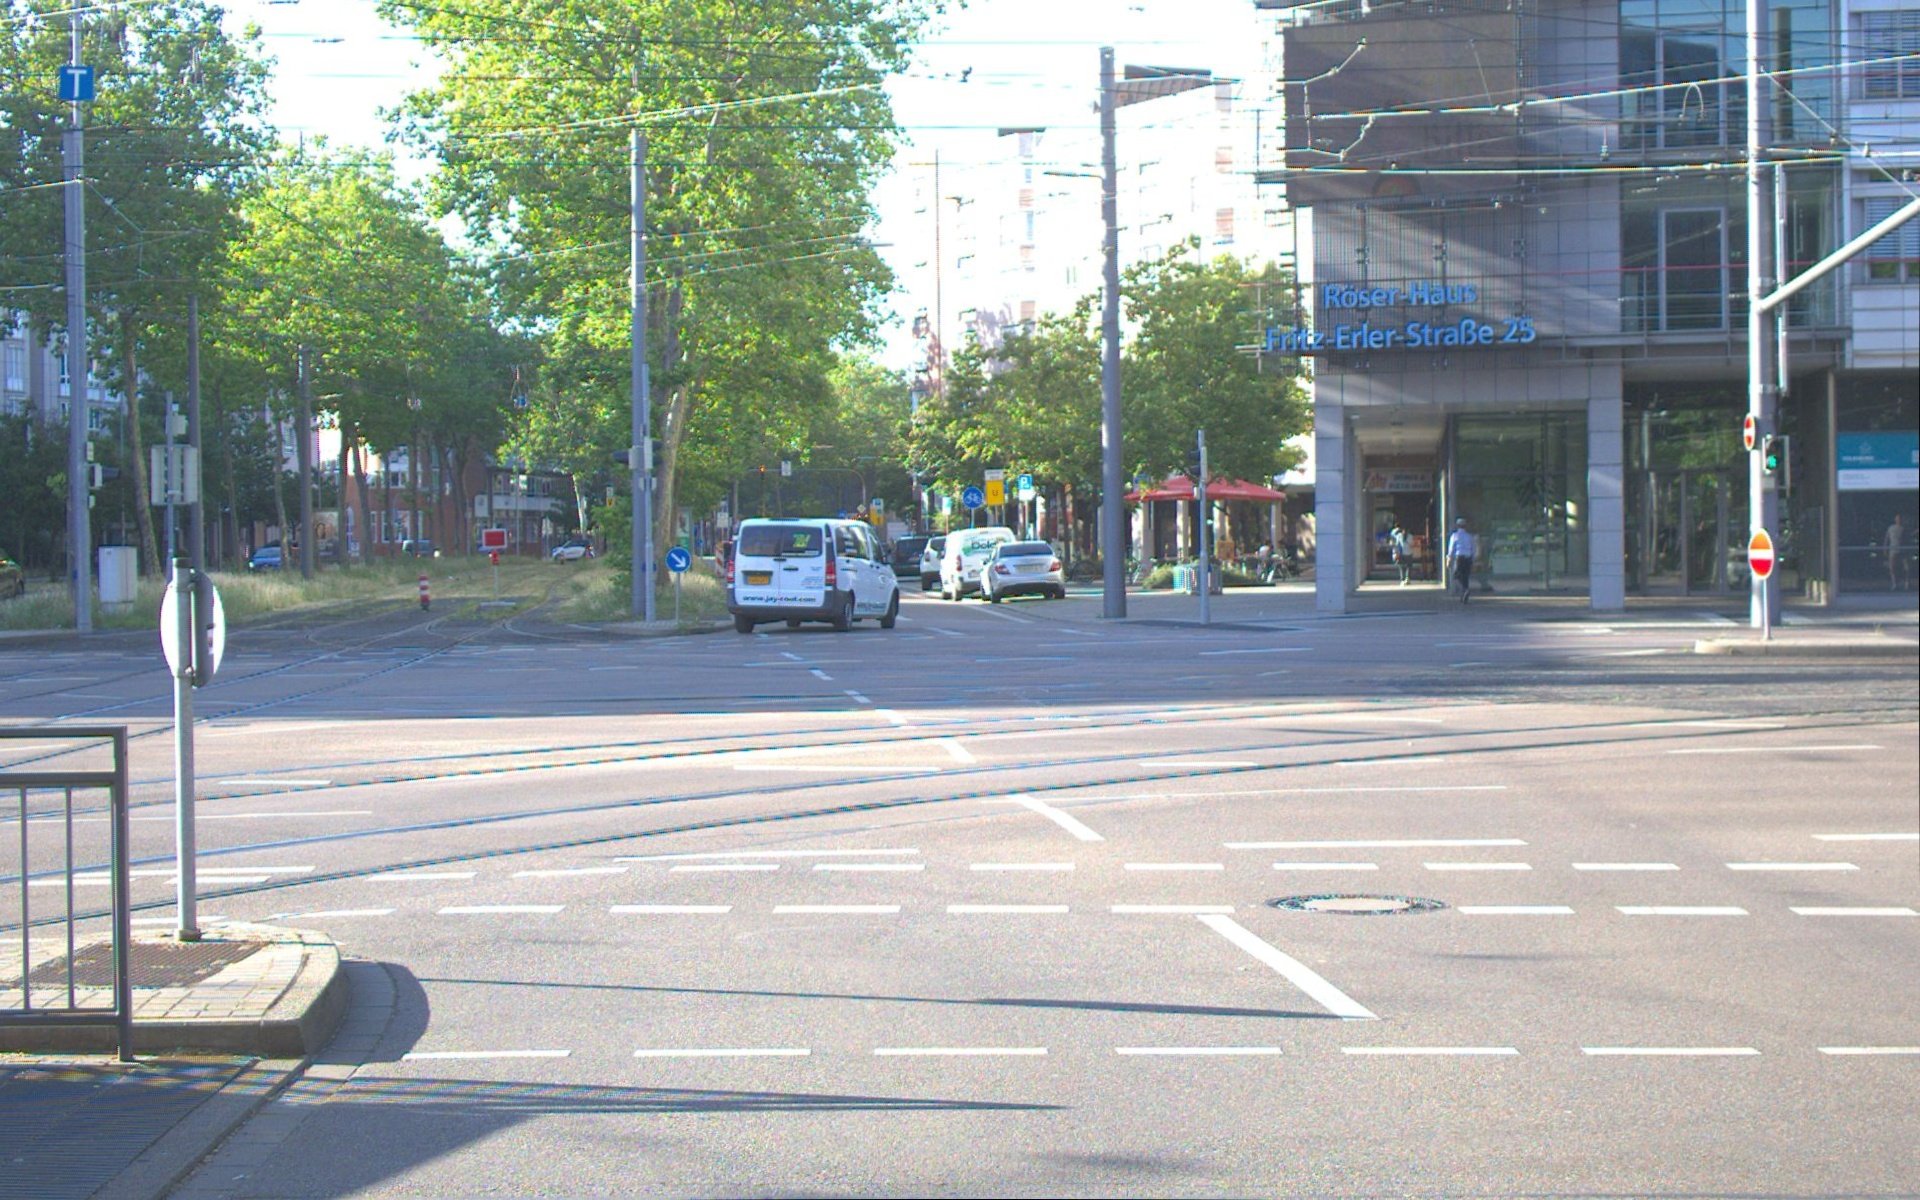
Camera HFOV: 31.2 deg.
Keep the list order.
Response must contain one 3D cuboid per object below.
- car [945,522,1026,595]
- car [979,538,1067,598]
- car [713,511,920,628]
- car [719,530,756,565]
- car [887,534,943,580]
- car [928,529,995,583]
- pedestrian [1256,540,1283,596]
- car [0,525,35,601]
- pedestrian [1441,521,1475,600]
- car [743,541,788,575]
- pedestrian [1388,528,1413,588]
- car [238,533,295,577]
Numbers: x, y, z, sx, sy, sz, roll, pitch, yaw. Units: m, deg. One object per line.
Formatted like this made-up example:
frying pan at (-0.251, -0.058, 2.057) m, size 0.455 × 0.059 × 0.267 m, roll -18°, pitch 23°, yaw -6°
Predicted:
car at (0.645, -1.095, 89.569) m, size 1.993 × 1.853 × 4.000 m, roll -1°, pitch 1°, yaw -1°
car at (1.490, -0.786, 82.774) m, size 1.993 × 1.371 × 4.000 m, roll -1°, pitch 1°, yaw -1°
car at (-2.324, -0.534, 57.268) m, size 1.962 × 1.842 × 5.327 m, roll -1°, pitch 1°, yaw 14°
car at (-13.171, -3.104, 203.789) m, size 1.993 × 2.007 × 4.000 m, roll -1°, pitch 1°, yaw -1°
car at (-1.645, -1.597, 126.665) m, size 1.993 × 1.612 × 4.000 m, roll -1°, pitch 1°, yaw 0°
car at (0.033, -1.359, 105.214) m, size 1.993 × 1.612 × 4.000 m, roll -1°, pitch 1°, yaw 0°
pedestrian at (9.455, -0.987, 105.042) m, size 0.744 × 1.708 × 0.612 m, roll -1°, pitch 1°, yaw -1°
car at (-21.668, -0.802, 74.922) m, size 1.993 × 1.634 × 4.000 m, roll -1°, pitch 1°, yaw -1°
pedestrian at (9.604, -0.764, 66.291) m, size 0.612 × 1.502 × 0.579 m, roll -1°, pitch 1°, yaw 6°
car at (-8.315, -1.789, 147.197) m, size 1.797 × 1.437 × 4.000 m, roll 1°, pitch 1°, yaw -2°
pedestrian at (11.054, -1.051, 86.292) m, size 0.612 × 1.502 × 0.579 m, roll -1°, pitch 1°, yaw 7°
car at (-32.100, -2.091, 159.183) m, size 1.993 × 2.007 × 4.001 m, roll -1°, pitch 1°, yaw -3°
